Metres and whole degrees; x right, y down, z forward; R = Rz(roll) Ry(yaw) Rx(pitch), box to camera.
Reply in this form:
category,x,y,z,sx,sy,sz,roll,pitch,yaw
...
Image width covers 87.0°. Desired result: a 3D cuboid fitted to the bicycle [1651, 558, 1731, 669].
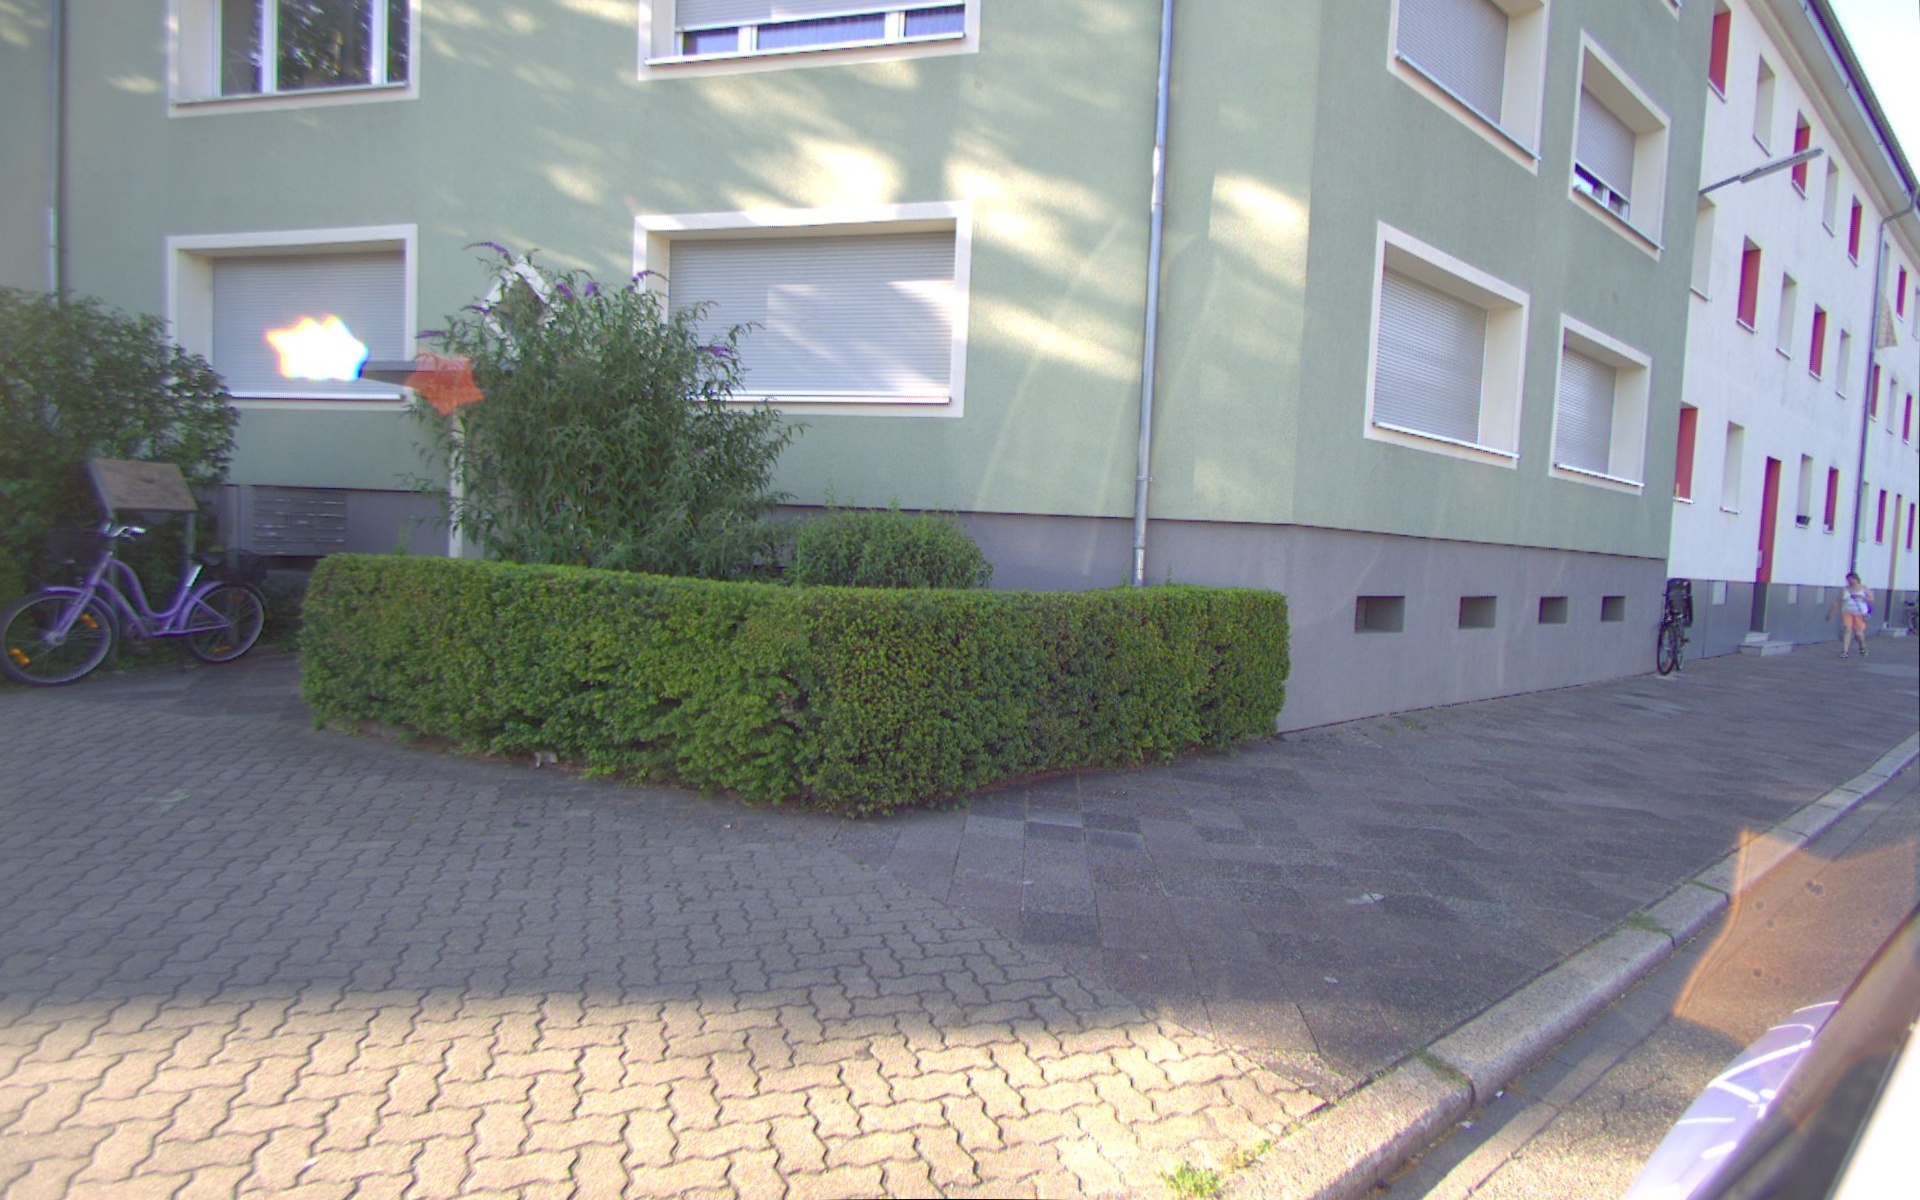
category,x,y,z,sx,sy,sz,roll,pitch,yaw
bicycle,10.125,0.162,13.990,1.843,1.429,0.517,-1,4,-44

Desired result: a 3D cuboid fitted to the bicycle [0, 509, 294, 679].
category,x,y,z,sx,sy,sz,roll,pitch,yaw
bicycle,-5.917,-0.085,7.288,0.515,1.069,1.920,3,3,22

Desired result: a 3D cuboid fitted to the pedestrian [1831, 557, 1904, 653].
category,x,y,z,sx,sy,sz,roll,pitch,yaw
pedestrian,17.112,0.075,19.090,0.933,1.727,0.787,0,4,-41

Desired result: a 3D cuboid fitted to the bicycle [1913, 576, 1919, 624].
category,x,y,z,sx,sy,sz,roll,pitch,yaw
bicycle,29.422,0.014,30.740,1.843,1.429,0.517,-1,4,-44
